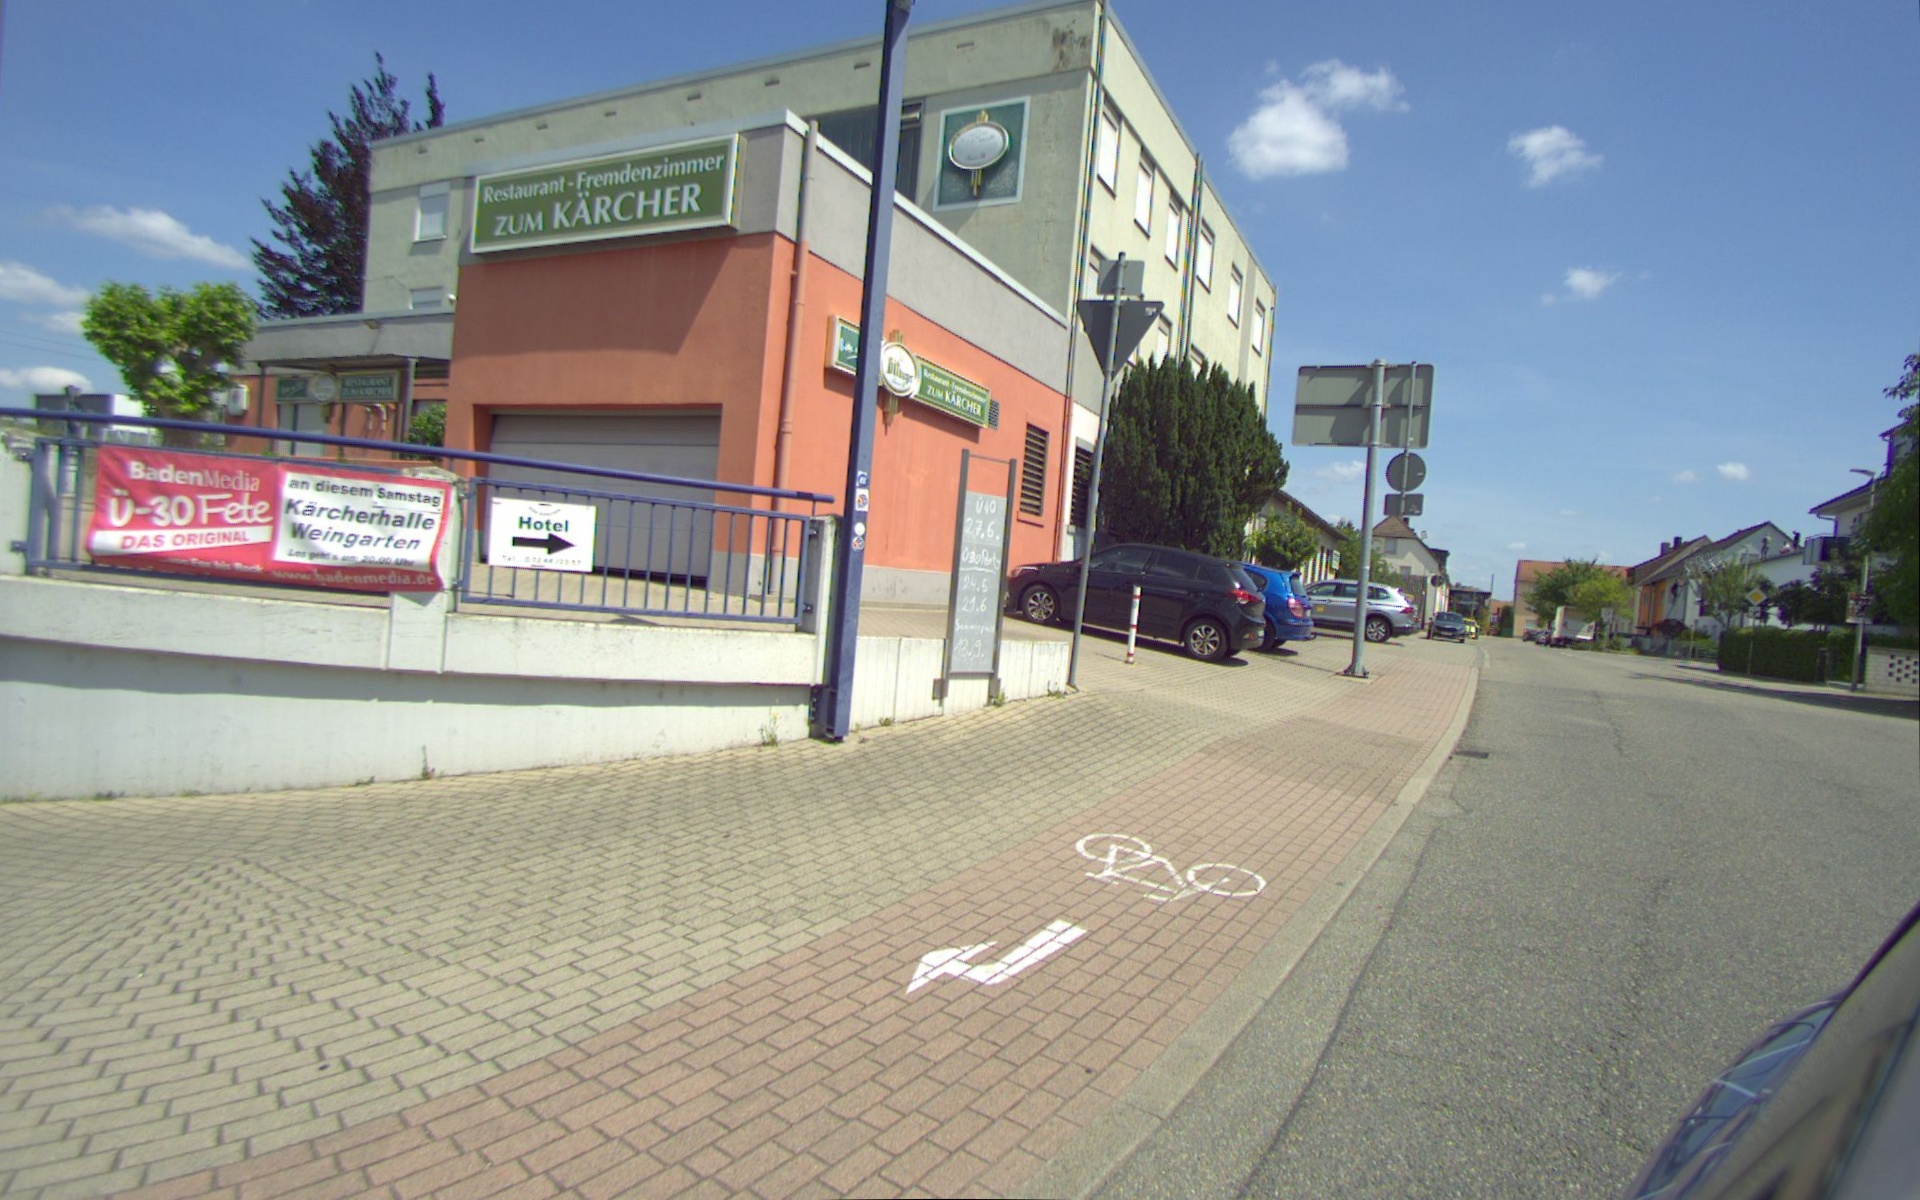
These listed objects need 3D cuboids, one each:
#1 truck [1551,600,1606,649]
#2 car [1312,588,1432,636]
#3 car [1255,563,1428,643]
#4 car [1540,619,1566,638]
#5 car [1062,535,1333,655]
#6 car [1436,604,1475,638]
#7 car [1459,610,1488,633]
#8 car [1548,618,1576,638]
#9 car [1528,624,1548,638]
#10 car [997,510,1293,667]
[{"bbox_3d":[47.754,1.841,78.312,2.423,3.284,6.974,9,3,25],"label":"truck"},{"bbox_3d":[17.649,0.509,43.376,4.504,1.471,1.898,8,2,28],"label":"car"},{"bbox_3d":[11.104,0.062,29.466,4.427,1.717,1.905,8,2,26],"label":"car"},{"bbox_3d":[56.483,2.729,96.456,1.707,1.518,4.175,8,2,26],"label":"car"},{"bbox_3d":[4.216,-0.165,18.117,4.301,1.455,1.763,9,6,27],"label":"car"},{"bbox_3d":[25.213,1.061,51.521,1.618,1.507,4.101,6,1,26],"label":"car"},{"bbox_3d":[39.288,1.643,77.398,1.708,1.414,4.173,10,3,27],"label":"car"},{"bbox_3d":[53.896,2.510,90.629,1.707,1.518,4.175,8,2,26],"label":"car"},{"bbox_3d":[70.344,3.754,123.151,1.707,1.518,4.175,8,2,26],"label":"car"},{"bbox_3d":[2.765,-0.233,15.225,3.877,1.506,1.793,13,6,26],"label":"car"}]
